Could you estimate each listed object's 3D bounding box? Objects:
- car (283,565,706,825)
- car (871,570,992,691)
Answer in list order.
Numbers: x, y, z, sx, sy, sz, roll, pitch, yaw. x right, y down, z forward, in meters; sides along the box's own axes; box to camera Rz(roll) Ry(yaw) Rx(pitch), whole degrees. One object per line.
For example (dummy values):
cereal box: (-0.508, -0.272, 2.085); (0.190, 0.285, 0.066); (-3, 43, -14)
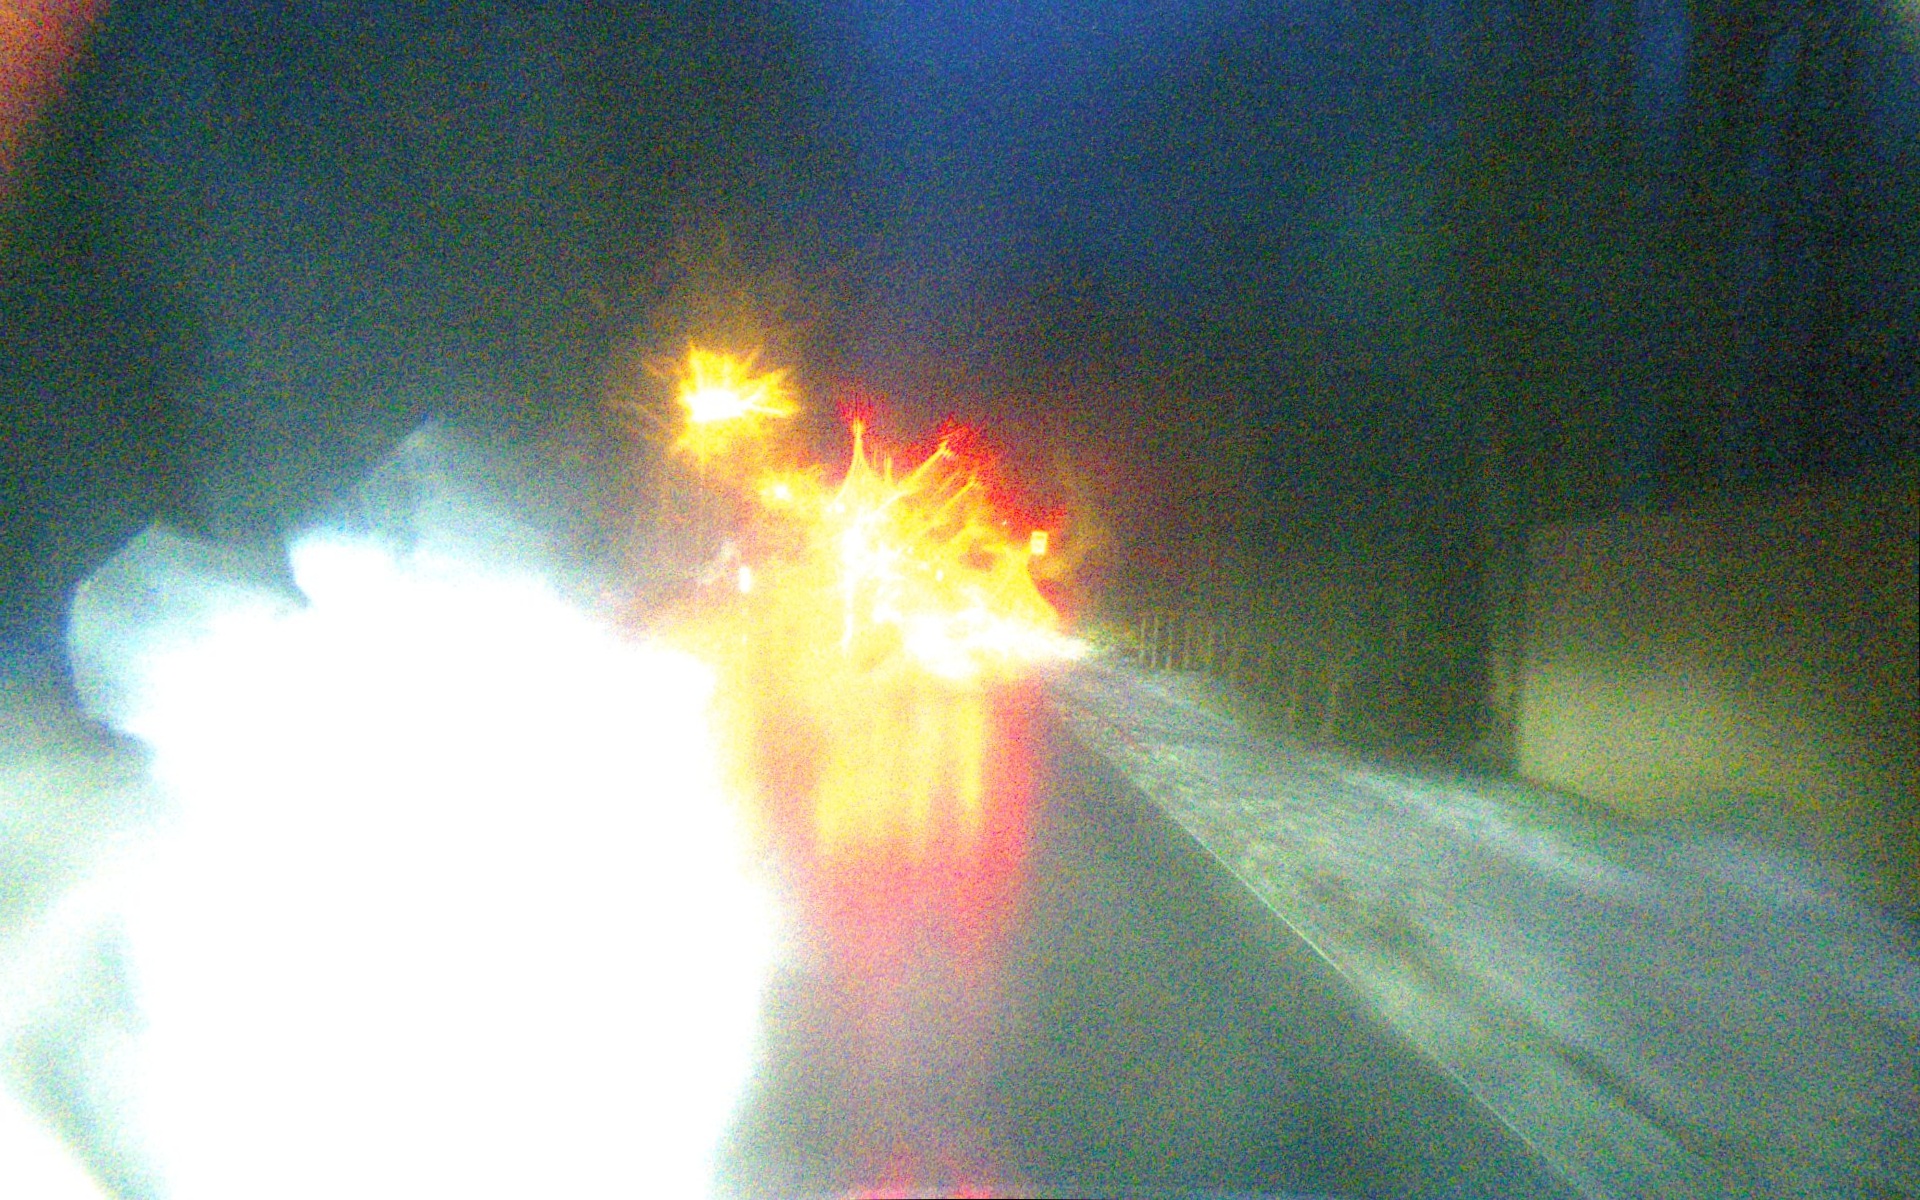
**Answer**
car: (-3.120, 0.587, 12.049); (1.876, 1.501, 4.202); (2, 0, -1)
car: (-0.489, 0.416, 26.380); (1.755, 1.710, 3.903); (1, 2, -2)
